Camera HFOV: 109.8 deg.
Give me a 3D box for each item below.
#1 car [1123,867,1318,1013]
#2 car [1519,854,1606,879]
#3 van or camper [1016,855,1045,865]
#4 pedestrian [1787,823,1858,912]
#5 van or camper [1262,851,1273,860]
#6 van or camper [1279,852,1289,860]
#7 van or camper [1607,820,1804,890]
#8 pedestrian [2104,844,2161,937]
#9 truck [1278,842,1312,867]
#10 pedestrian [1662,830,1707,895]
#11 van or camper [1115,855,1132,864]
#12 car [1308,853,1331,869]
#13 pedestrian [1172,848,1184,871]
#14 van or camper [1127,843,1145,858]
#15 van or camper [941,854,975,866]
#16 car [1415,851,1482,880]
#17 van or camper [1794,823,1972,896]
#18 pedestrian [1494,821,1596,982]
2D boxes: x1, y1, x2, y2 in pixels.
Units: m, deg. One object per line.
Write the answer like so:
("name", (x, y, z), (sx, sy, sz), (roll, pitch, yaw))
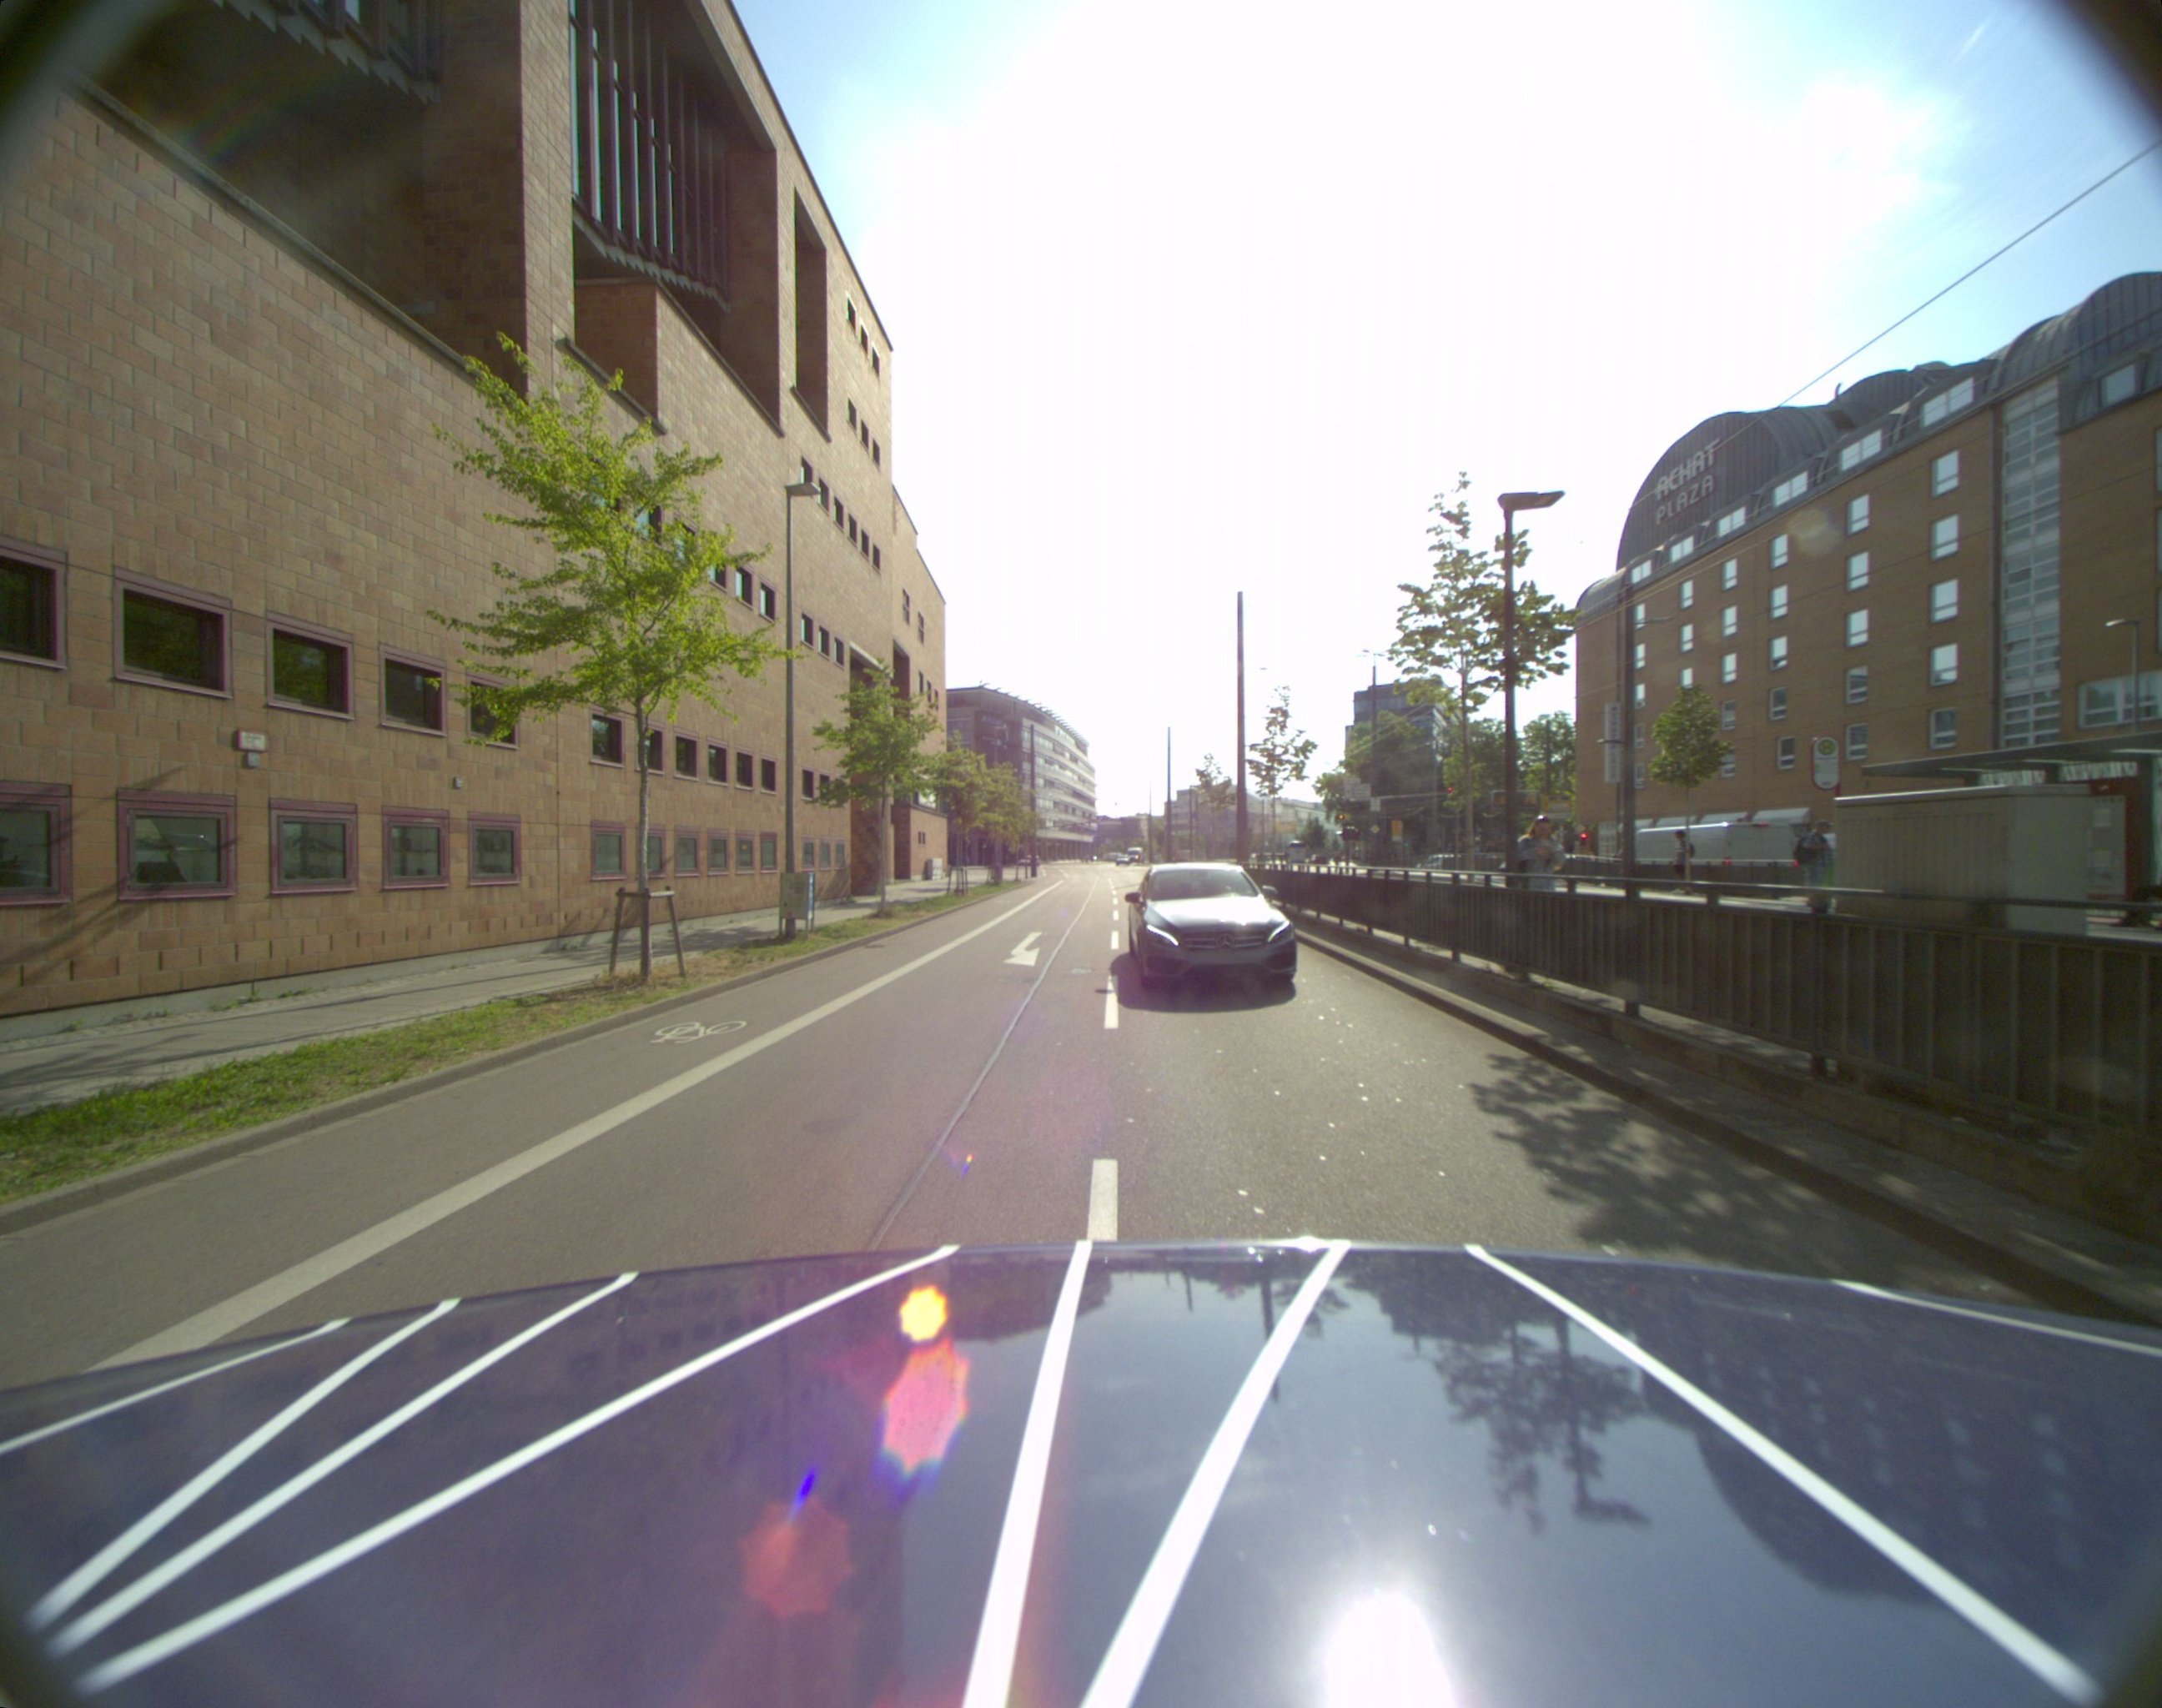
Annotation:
("car", (1.579, 0.941, 10.079), (1.906, 1.384, 4.236), (-1, 1, 2))
("car", (20.106, 0.483, 31.882), (1.549, 0.965, 3.488), (0, 0, 3))
("van or camper", (-6.851, 0.849, 103.591), (1.929, 1.305, 3.994), (0, 0, 33))
("pedestrian", (14.998, 0.252, 15.373), (0.786, 1.736, 0.833), (1, 1, -33))
("van or camper", (35.478, 0.265, 144.511), (1.843, 1.543, 4.004), (0, 0, 12))
("van or camper", (43.860, 0.448, 163.842), (1.925, 1.691, 4.005), (0, 0, 16))
("van or camper", (19.665, 0.020, 24.345), (2.087, 2.002, 5.342), (0, 0, 3))
("pedestrian", (15.635, 0.507, 10.878), (0.871, 1.306, 0.808), (0, 1, 0))
("truck", (34.394, 0.003, 122.609), (3.167, 3.754, 12.365), (0, 0, 6))
("pedestrian", (16.643, 0.231, 20.967), (0.652, 1.750, 0.698), (-3, 1, 4))
("van or camper", (5.921, 0.738, 106.143), (1.932, 1.305, 3.989), (0, 0, 9))
("car", (30.906, 0.928, 98.516), (1.998, 2.002, 4.001), (0, 0, 5))
("pedestrian", (7.013, 0.402, 54.941), (0.582, 1.624, 0.645), (0, 1, -31))
("van or camper", (8.392, -0.578, 116.662), (1.931, 2.198, 3.991), (0, 0, 16))
("van or camper", (-15.724, 0.736, 97.387), (4.215, 1.434, 1.998), (0, 1, -12))
("car", (20.968, 0.620, 43.547), (1.998, 1.608, 4.025), (0, 0, 3))
("van or camper", (33.315, 0.191, 31.882), (1.998, 2.786, 5.354), (0, 0, 4))
("pedestrian", (5.324, 0.527, 8.756), (0.675, 1.747, 0.727), (-3, 1, 2))
